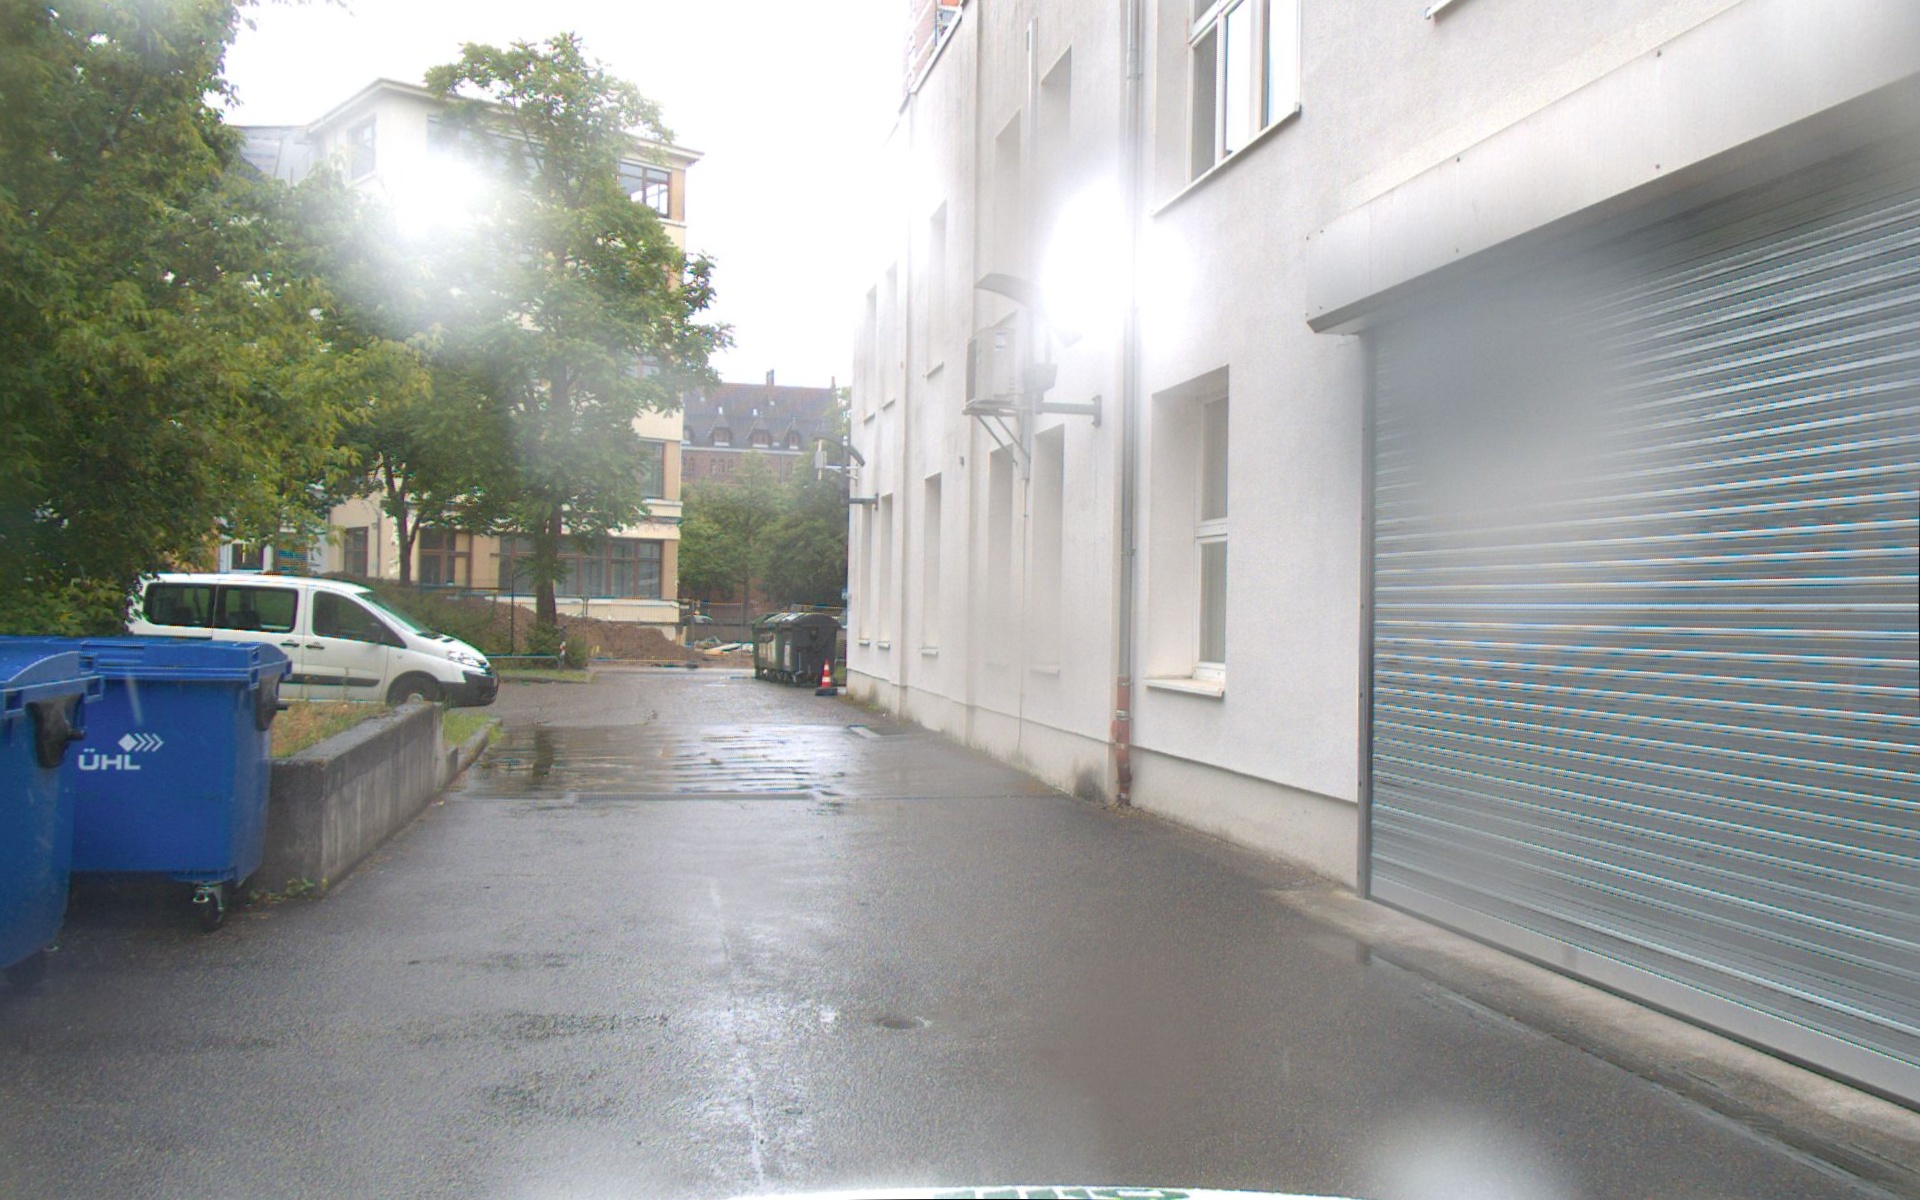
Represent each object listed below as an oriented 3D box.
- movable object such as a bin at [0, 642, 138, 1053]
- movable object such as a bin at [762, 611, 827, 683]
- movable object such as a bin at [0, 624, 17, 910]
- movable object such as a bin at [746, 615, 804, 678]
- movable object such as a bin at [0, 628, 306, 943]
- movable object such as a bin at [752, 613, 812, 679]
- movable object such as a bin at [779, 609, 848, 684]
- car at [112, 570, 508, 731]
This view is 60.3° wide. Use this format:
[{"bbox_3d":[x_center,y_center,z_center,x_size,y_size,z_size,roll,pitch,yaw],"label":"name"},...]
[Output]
[{"bbox_3d":[-3.858,0.840,6.056,1.180,1.360,1.115,1,-1,-8],"label":"movable object such as a bin"},{"bbox_3d":[-3.495,0.999,34.852,1.194,1.462,1.289,1,-3,-14],"label":"movable object such as a bin"},{"bbox_3d":[-5.096,0.795,7.439,1.199,1.360,1.004,1,0,-11],"label":"movable object such as a bin"},{"bbox_3d":[-4.379,1.117,39.136,1.194,1.462,1.254,1,-3,-14],"label":"movable object such as a bin"},{"bbox_3d":[-3.847,0.830,7.831,1.199,1.360,1.004,1,0,-11],"label":"movable object such as a bin"},{"bbox_3d":[-4.078,1.056,37.796,1.194,1.462,1.254,1,-3,-14],"label":"movable object such as a bin"},{"bbox_3d":[-2.955,0.955,33.246,1.194,1.462,1.231,1,-3,-14],"label":"movable object such as a bin"},{"bbox_3d":[-8.675,0.648,22.507,4.695,2.049,1.995,0,0,-11],"label":"car"}]
